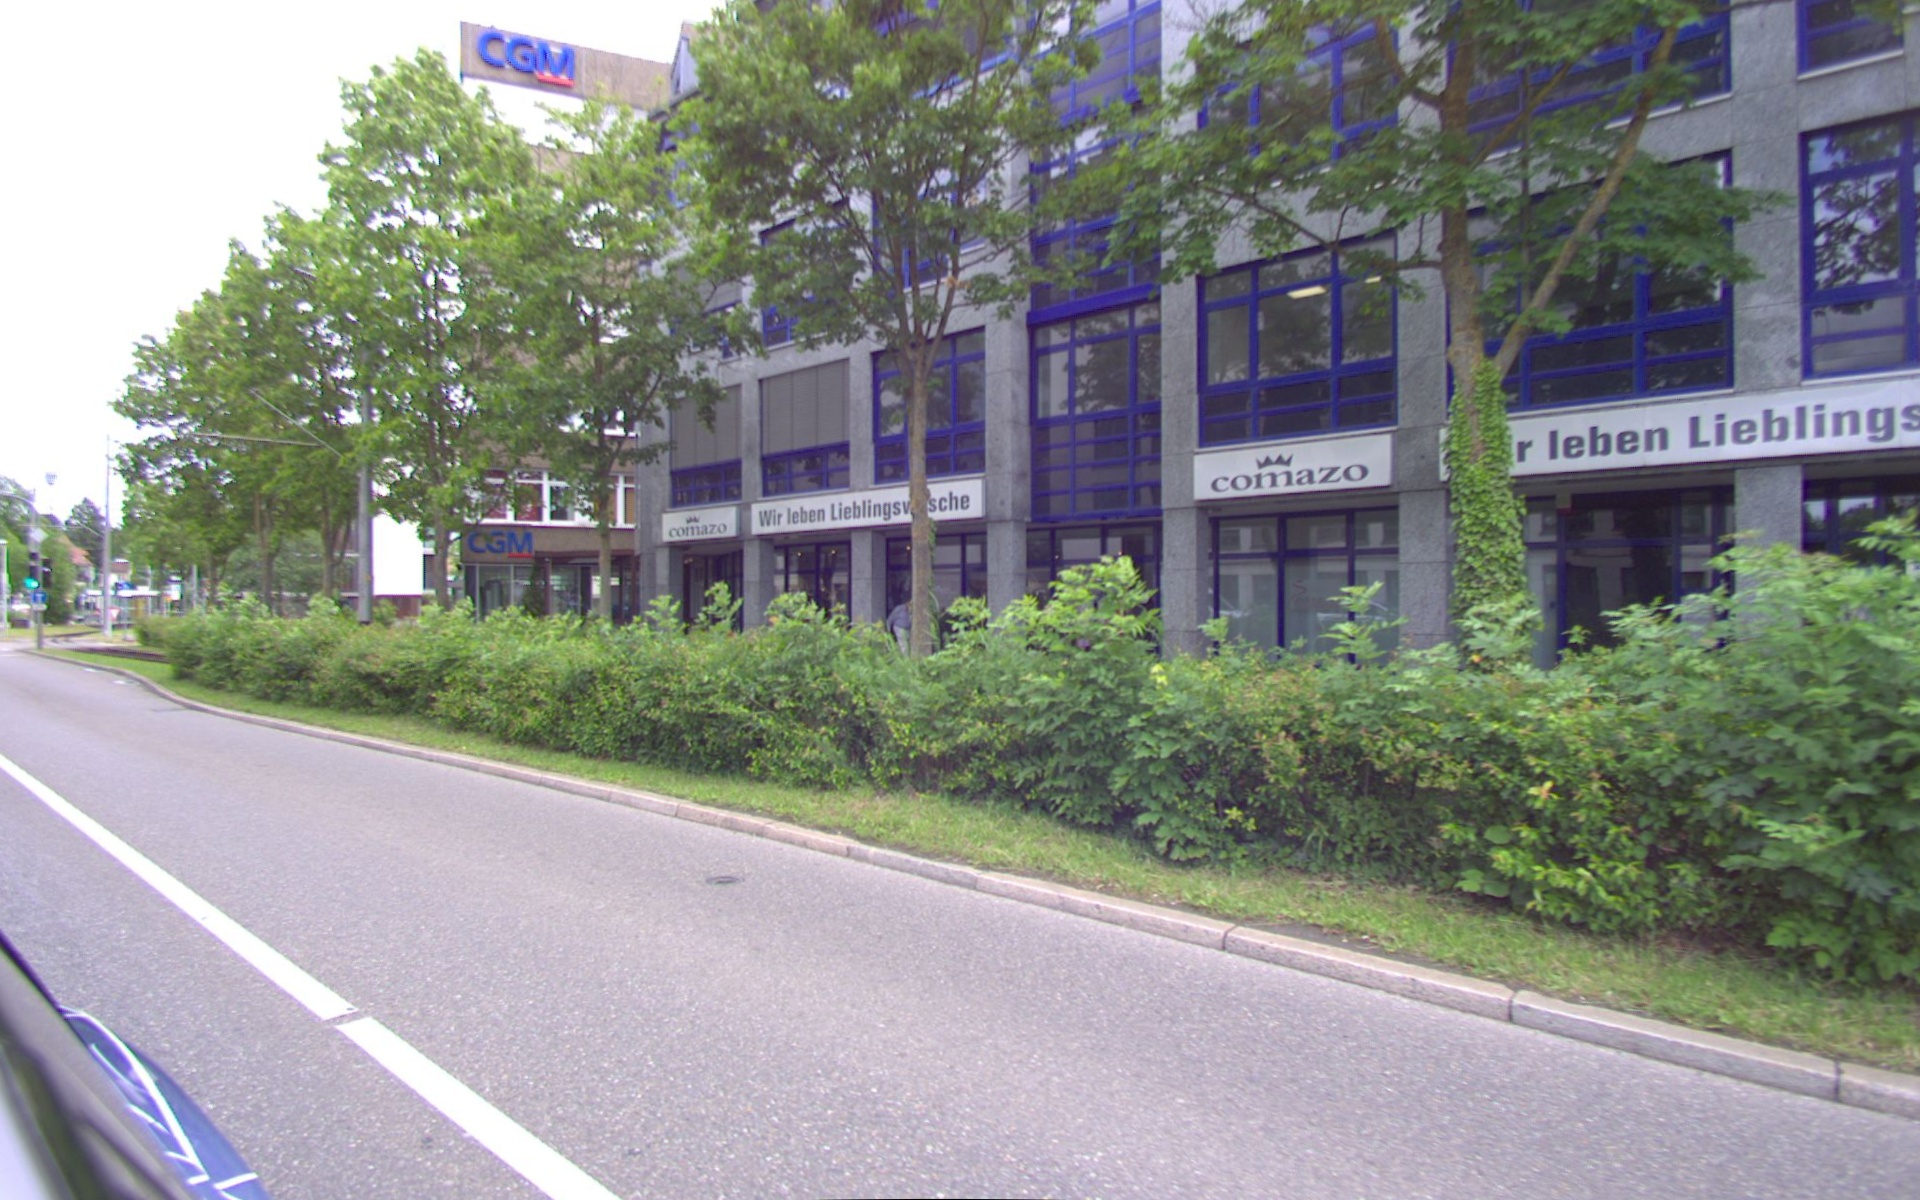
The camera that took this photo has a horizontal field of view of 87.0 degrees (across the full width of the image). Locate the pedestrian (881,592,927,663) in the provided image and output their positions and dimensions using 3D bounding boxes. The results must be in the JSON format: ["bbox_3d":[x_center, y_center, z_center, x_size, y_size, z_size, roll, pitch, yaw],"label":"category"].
[{"bbox_3d":[-1.204,0.579,21.731,0.679,1.493,0.690,-1,1,41],"label":"pedestrian"}]
